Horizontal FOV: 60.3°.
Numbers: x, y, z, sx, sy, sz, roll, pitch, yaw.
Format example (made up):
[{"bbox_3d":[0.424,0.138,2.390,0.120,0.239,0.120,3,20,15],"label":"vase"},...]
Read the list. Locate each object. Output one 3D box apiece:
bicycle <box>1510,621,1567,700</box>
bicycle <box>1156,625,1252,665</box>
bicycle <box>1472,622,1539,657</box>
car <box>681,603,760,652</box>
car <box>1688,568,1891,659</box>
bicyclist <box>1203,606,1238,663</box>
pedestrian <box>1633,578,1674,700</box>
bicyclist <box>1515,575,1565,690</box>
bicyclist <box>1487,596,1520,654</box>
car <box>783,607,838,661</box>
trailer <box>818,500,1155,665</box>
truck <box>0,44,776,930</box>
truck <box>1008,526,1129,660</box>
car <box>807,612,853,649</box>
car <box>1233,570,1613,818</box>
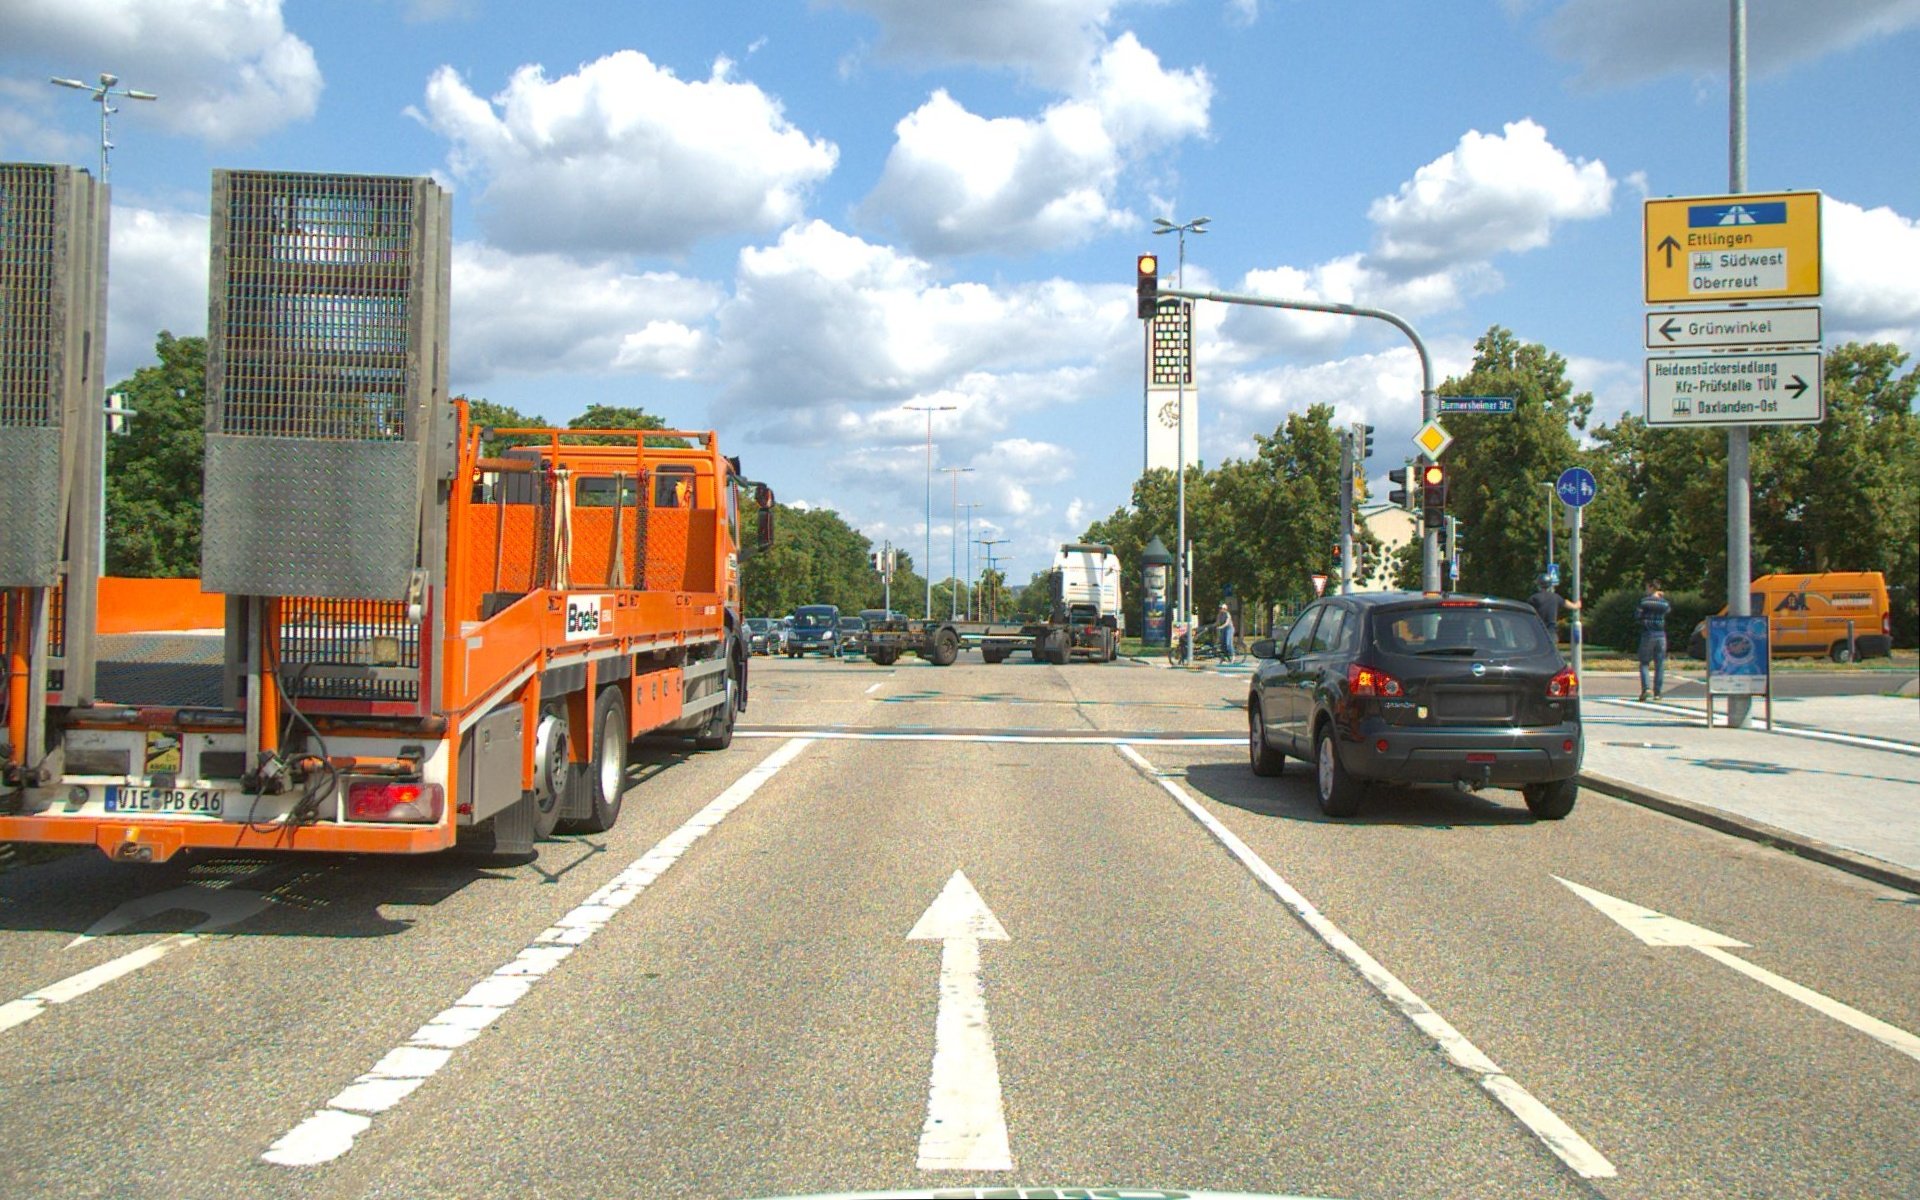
[{"bbox_3d":[8.782,0.910,25.141,0.634,1.127,1.929,2,-1,15],"label":"bicycle"},{"bbox_3d":[7.123,1.303,48.229,2.795,1.131,0.792,1,-1,-23],"label":"bicycle"},{"bbox_3d":[17.392,1.251,52.758,1.961,1.113,0.684,0,-1,-11],"label":"bicycle"},{"bbox_3d":[-8.188,0.956,56.960,1.698,1.570,4.311,2,-1,5],"label":"car"},{"bbox_3d":[22.301,0.358,44.512,4.753,2.265,2.208,1,-1,29],"label":"car"},{"bbox_3d":[7.630,1.013,48.445,0.689,1.644,0.792,1,-1,-23],"label":"bicyclist"},{"bbox_3d":[10.521,0.593,25.098,0.454,1.810,0.482,2,-1,10],"label":"pedestrian"},{"bbox_3d":[8.748,0.486,24.962,0.634,1.690,0.650,2,-1,15],"label":"bicyclist"},{"bbox_3d":[17.325,0.794,52.752,0.772,1.836,0.684,0,-1,-10],"label":"bicyclist"},{"bbox_3d":[-5.062,1.155,56.243,1.700,1.689,4.227,2,-1,-4],"label":"car"},{"bbox_3d":[1.108,-0.320,46.476,3.561,4.082,11.270,-1,-1,37],"label":"trailer"},{"bbox_3d":[-3.434,-0.368,12.127,3.008,3.474,11.064,2,-1,-1],"label":"truck"},{"bbox_3d":[3.728,-0.130,54.599,2.896,4.040,8.644,0,-1,11],"label":"truck"},{"bbox_3d":[-4.989,1.189,64.021,1.536,1.339,3.431,2,-1,-1],"label":"car"},{"bbox_3d":[3.396,0.660,12.936,1.763,1.579,3.999,2,-1,-1],"label":"car"}]
